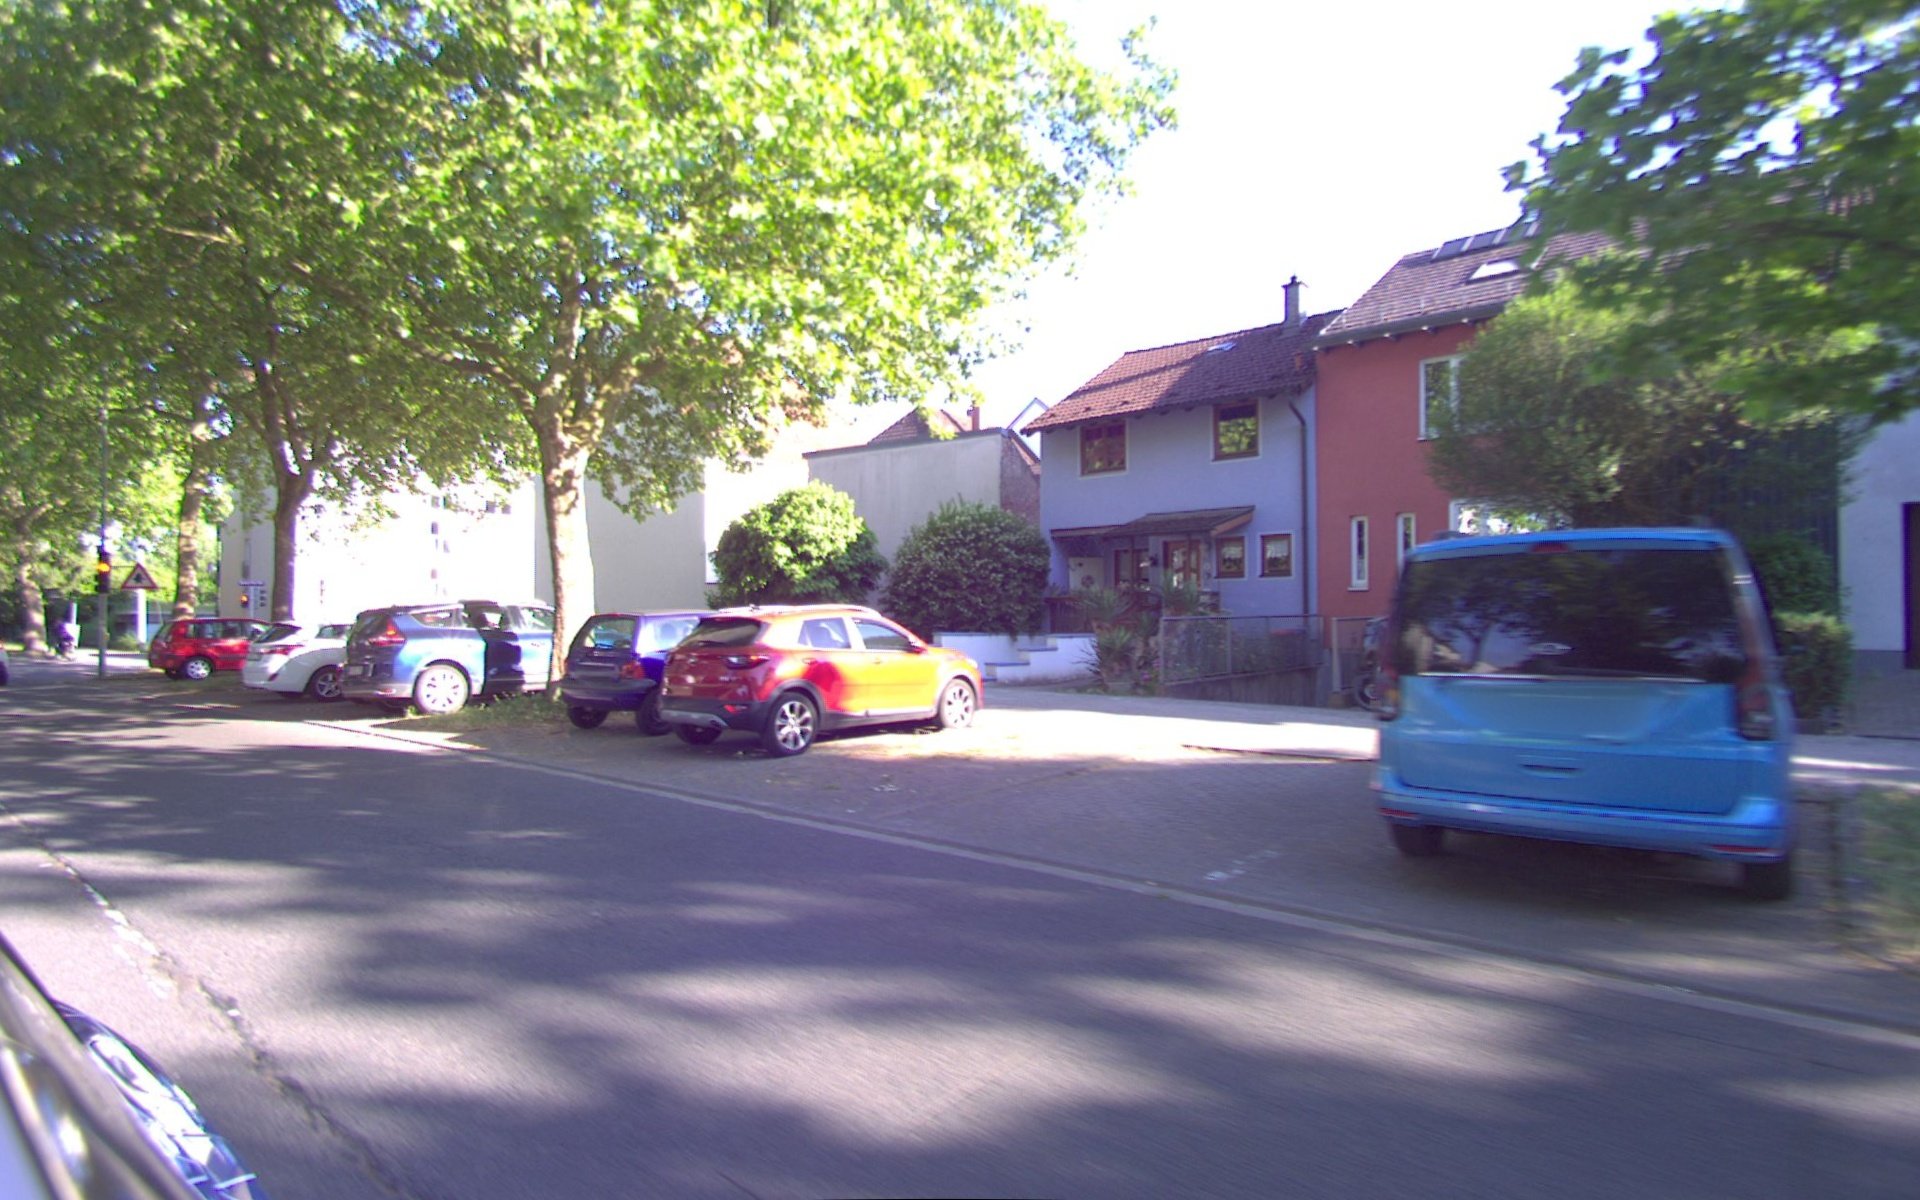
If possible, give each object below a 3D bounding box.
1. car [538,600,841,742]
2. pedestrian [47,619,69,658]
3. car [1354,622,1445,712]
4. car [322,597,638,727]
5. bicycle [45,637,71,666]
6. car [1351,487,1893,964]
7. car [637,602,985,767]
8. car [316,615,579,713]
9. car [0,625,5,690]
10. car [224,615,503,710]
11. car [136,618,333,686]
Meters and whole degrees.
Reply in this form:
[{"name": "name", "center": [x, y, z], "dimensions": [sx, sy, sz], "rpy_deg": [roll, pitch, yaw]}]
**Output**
[{"name": "car", "center": [-3.360, 0.804, 13.089], "dimensions": [1.723, 1.528, 3.481], "rpy_deg": [-2, 0, 35]}, {"name": "pedestrian", "center": [-36.446, 1.547, 40.885], "dimensions": [1.034, 1.543, 0.504], "rpy_deg": [0, -1, 41]}, {"name": "car", "center": [5.888, 0.859, 13.520], "dimensions": [0.699, 1.125, 1.498], "rpy_deg": [-2, -2, 40]}, {"name": "car", "center": [-7.273, 0.853, 15.658], "dimensions": [1.829, 1.729, 4.051], "rpy_deg": [-1, -1, 39]}, {"name": "bicycle", "center": [-36.445, 2.068, 40.892], "dimensions": [2.152, 1.049, 0.504], "rpy_deg": [0, -2, 41]}, {"name": "car", "center": [4.115, 0.475, 6.239], "dimensions": [1.993, 1.838, 4.344], "rpy_deg": [-2, 0, 38]}, {"name": "car", "center": [-1.530, 0.800, 11.326], "dimensions": [1.780, 1.528, 3.605], "rpy_deg": [-2, -1, 39]}, {"name": "car", "center": [-8.831, 1.031, 17.652], "dimensions": [1.752, 1.495, 3.721], "rpy_deg": [-2, -1, 39]}, {"name": "car", "center": [-24.425, 1.377, 24.303], "dimensions": [4.090, 1.512, 1.699], "rpy_deg": [-1, -1, 40]}, {"name": "car", "center": [-11.034, 1.068, 18.974], "dimensions": [1.873, 1.512, 4.123], "rpy_deg": [-1, -1, 37]}, {"name": "car", "center": [-18.373, 1.250, 25.752], "dimensions": [1.828, 1.546, 3.730], "rpy_deg": [-1, -1, 37]}]
